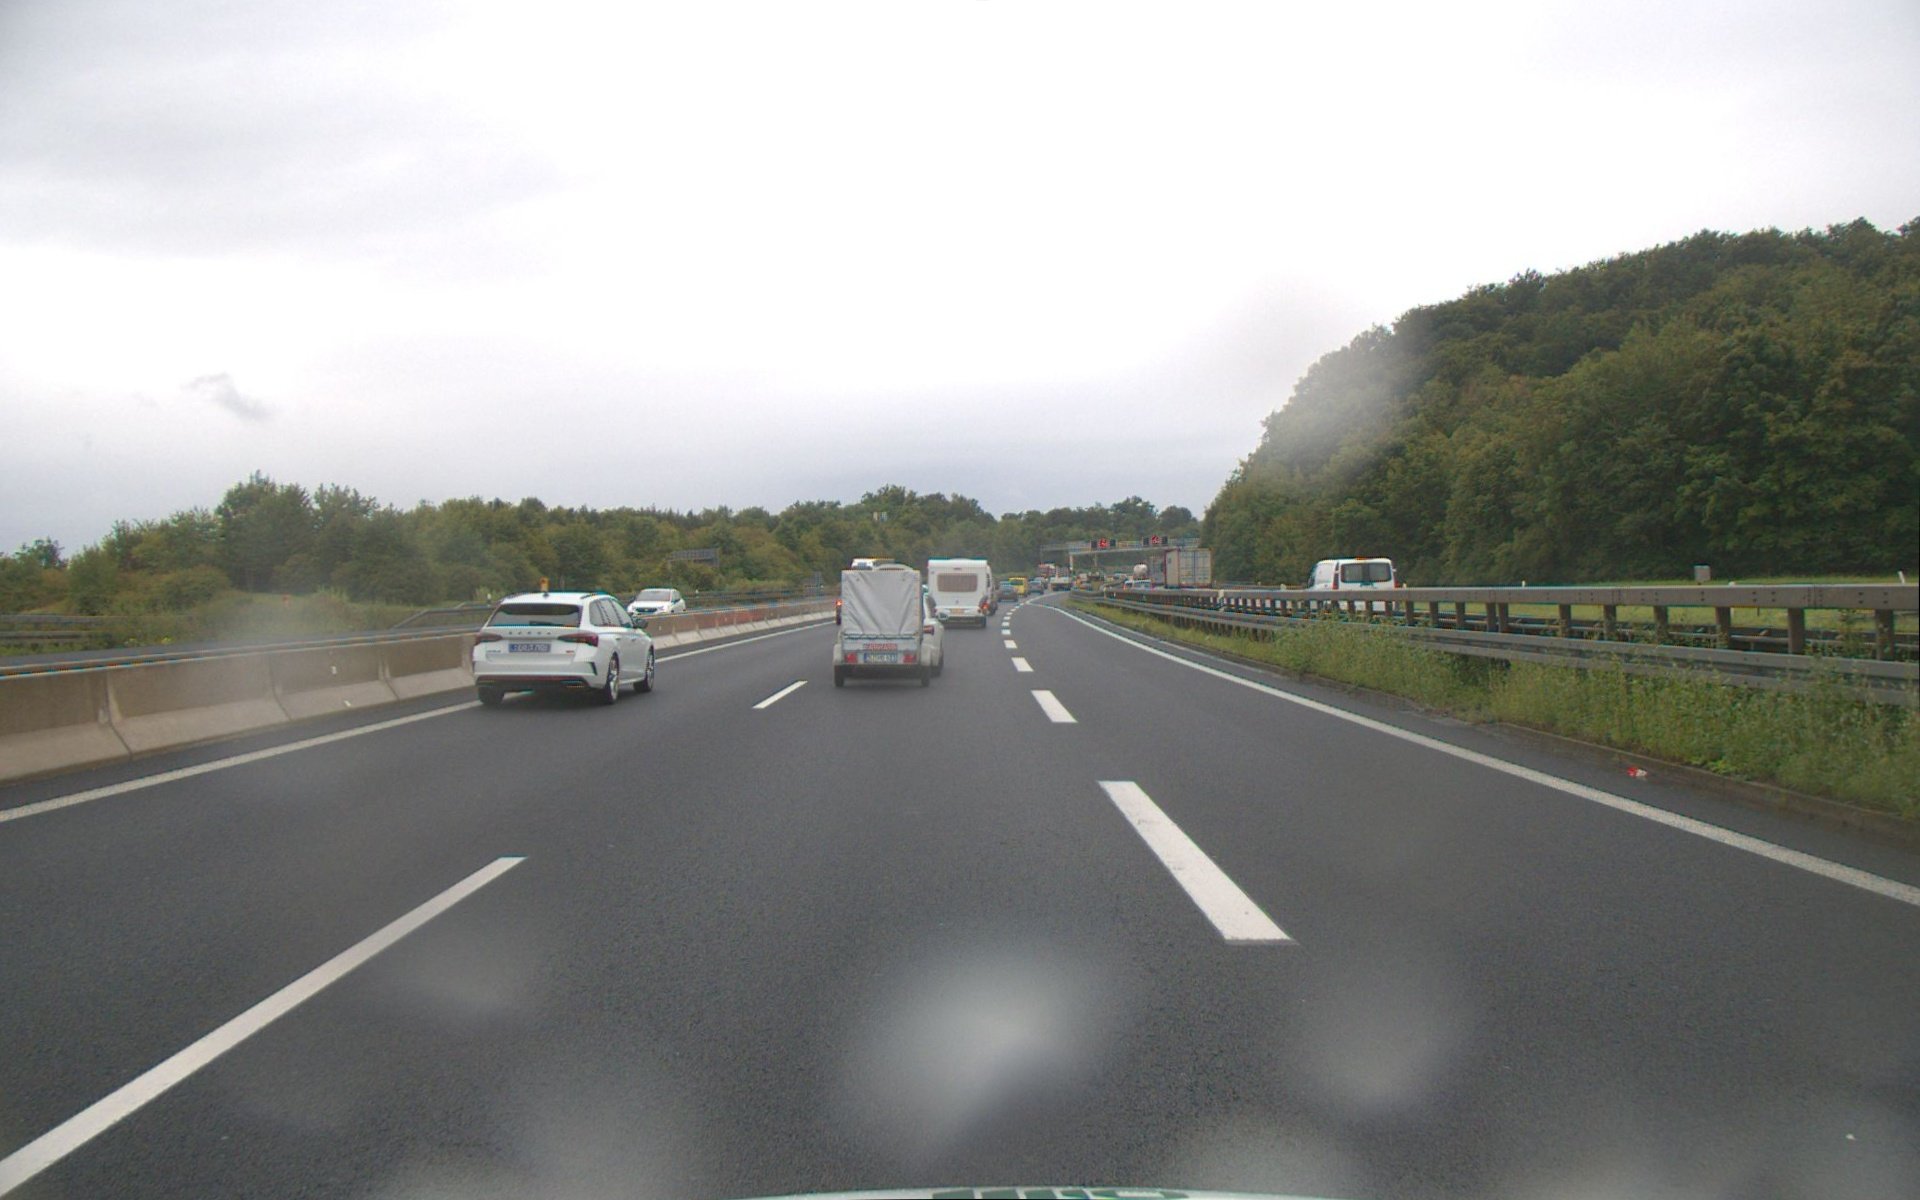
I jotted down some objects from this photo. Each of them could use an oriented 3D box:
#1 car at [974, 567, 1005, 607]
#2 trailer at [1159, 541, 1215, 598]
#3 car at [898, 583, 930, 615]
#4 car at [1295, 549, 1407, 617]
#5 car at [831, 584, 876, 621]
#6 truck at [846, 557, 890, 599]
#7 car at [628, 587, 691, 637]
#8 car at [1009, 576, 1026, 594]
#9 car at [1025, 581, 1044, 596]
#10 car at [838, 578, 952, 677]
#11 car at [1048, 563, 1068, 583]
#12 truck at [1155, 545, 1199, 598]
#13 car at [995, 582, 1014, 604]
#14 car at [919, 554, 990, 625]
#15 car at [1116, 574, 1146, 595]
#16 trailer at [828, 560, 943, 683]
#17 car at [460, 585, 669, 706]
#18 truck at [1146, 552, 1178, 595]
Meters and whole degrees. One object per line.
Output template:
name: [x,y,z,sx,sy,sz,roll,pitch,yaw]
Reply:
car: [1.632,-0.672,89.817,1.641,2.103,4.001,-1,0,1]
trailer: [16.795,-2.181,123.134,2.550,3.962,12.491,-1,0,1]
car: [-2.874,-0.062,103.730,1.953,1.952,3.999,-1,0,-1]
car: [10.666,-0.435,45.470,1.870,1.723,4.717,-1,0,-1]
car: [-4.493,0.114,70.178,1.641,1.481,3.999,-1,0,0]
truck: [-9.524,-2.224,172.172,2.728,4.164,12.306,-1,0,5]
car: [-12.294,0.492,67.959,1.702,1.953,4.317,-1,0,1]
car: [6.035,-1.541,173.172,1.640,1.844,4.002,-1,0,4]
car: [8.883,-1.311,196.559,1.994,1.712,4.003,-1,0,6]
car: [-1.114,0.478,30.350,1.781,1.644,4.778,-1,0,1]
car: [13.929,-3.801,233.811,2.462,2.620,5.316,-1,0,7]
truck: [16.903,-2.160,129.195,2.562,3.952,6.392,-1,0,1]
car: [3.894,-0.621,143.971,1.641,1.844,4.001,-1,0,2]
car: [-0.144,-0.384,64.430,2.455,2.630,5.701,-1,0,2]
car: [12.148,-1.071,117.671,1.633,1.407,4.126,-3,0,1]
trailer: [-1.159,0.334,27.201,1.641,1.844,4.000,-1,0,1]
car: [-5.349,0.578,22.987,1.781,1.481,4.777,-1,0,-1]
truck: [23.490,-2.989,192.860,3.148,4.748,13.040,-1,0,5]
